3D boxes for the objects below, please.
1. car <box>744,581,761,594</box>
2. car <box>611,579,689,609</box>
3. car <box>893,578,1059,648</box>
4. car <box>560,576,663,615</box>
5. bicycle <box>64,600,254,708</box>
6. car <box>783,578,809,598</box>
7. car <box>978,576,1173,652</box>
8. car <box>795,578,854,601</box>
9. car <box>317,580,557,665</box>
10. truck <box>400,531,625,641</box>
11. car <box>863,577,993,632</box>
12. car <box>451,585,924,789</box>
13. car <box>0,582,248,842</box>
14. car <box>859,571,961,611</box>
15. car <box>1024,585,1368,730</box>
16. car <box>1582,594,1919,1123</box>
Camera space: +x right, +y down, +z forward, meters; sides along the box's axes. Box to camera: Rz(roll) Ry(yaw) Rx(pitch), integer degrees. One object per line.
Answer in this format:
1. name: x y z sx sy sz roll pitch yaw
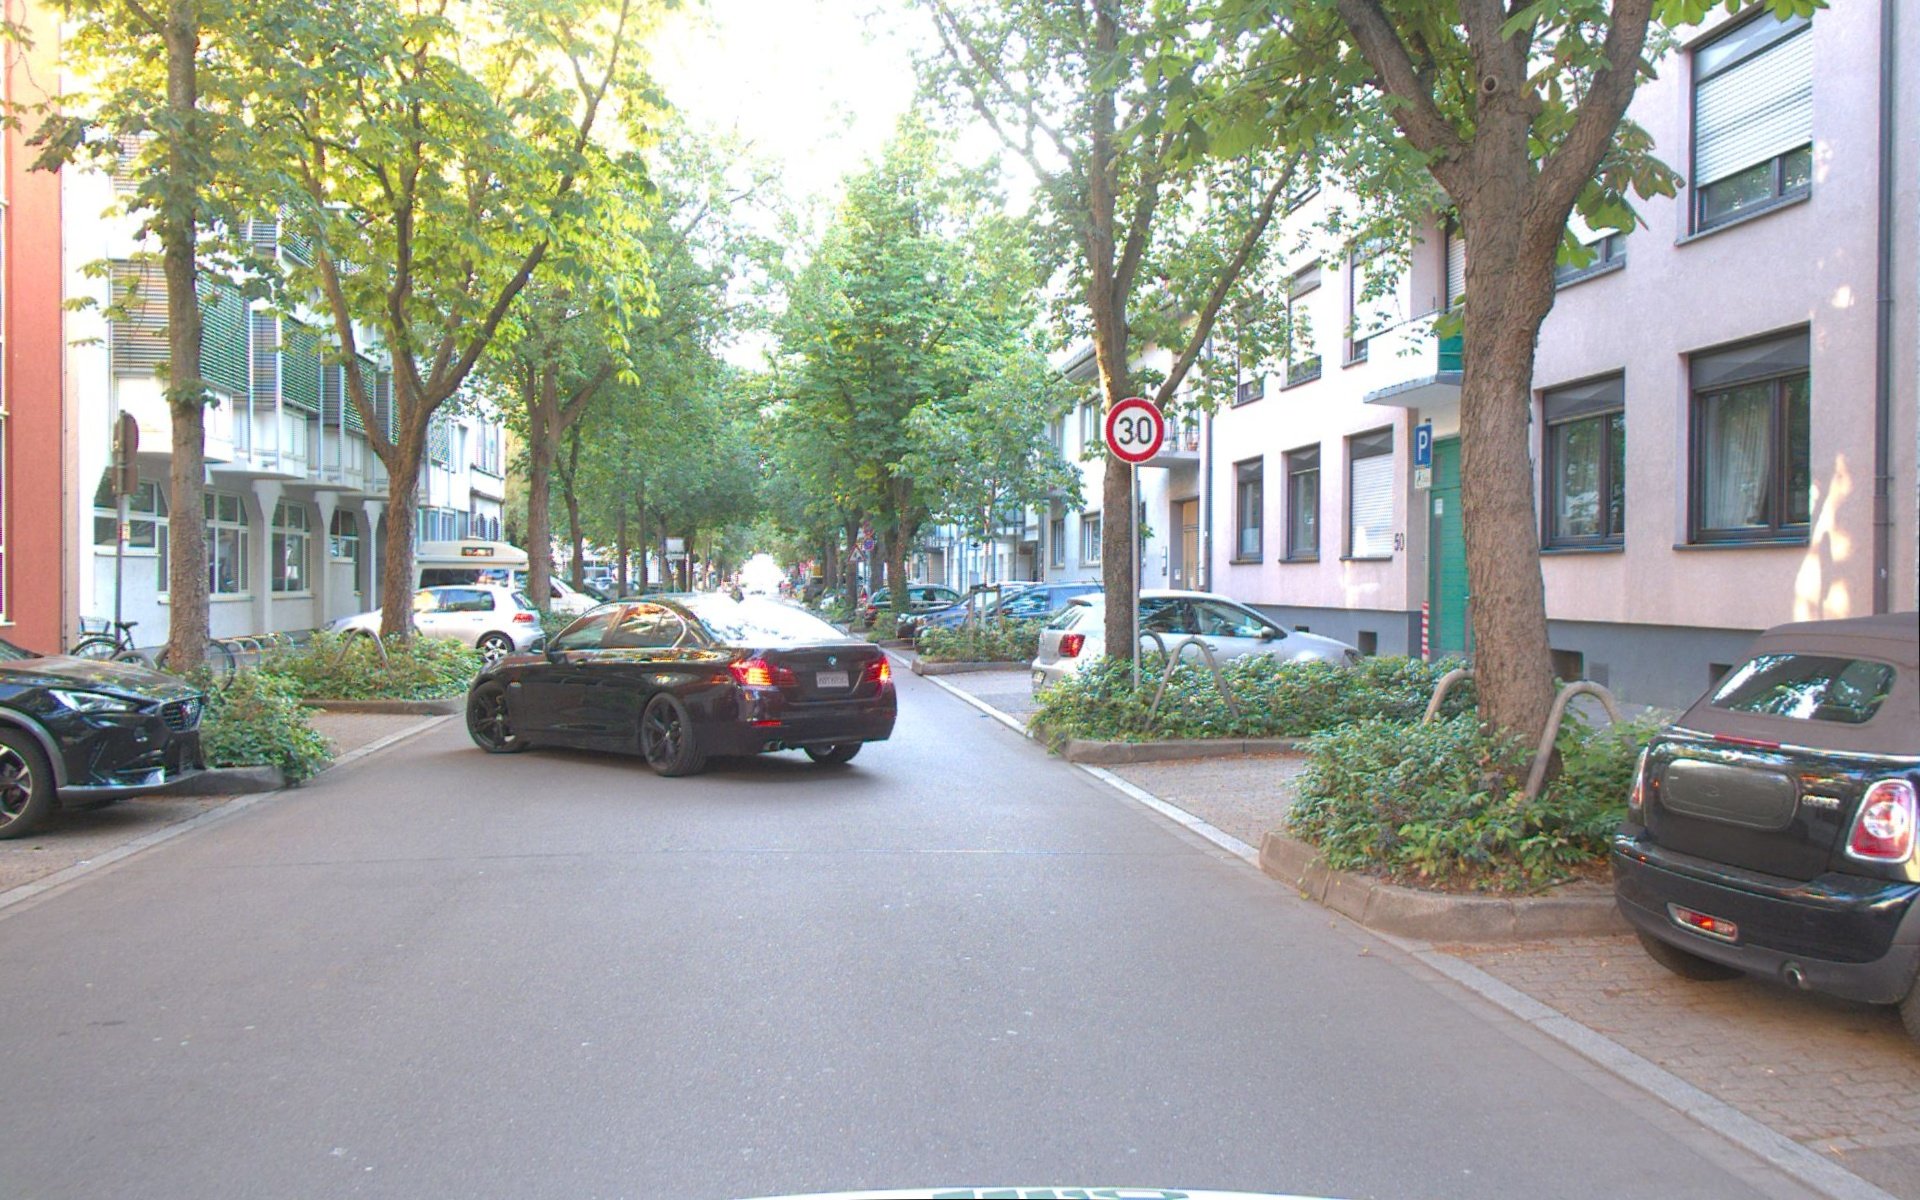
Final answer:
1. car: -24.214 -1.518 193.458 1.858 1.500 3.995 0 1 -6
2. car: -16.409 -0.305 87.684 3.945 1.497 1.638 1 1 -7
3. car: 0.350 0.276 38.994 3.722 1.556 1.562 -1 1 -9
4. car: -14.111 -0.198 67.138 3.945 1.497 1.638 1 1 -7
5. bicycle: -9.336 0.616 19.348 1.939 1.220 0.499 0 1 -18
6. car: -13.283 -0.965 133.811 1.956 1.579 3.994 0 1 -7
7. car: 2.247 0.249 32.576 3.589 1.417 1.562 -1 1 -9
8. car: -8.462 -0.661 103.397 3.589 1.417 1.563 0 1 -9
9. car: -9.828 0.418 31.326 4.054 1.497 1.638 1 1 -7
10. truck: -10.606 -0.343 39.501 4.903 2.483 1.914 1 1 -6
11. car: -0.954 0.115 47.718 3.589 1.563 1.563 0 1 -9
12. car: -2.513 0.616 14.391 1.755 1.475 4.591 0 1 -45
13. car: -7.126 0.648 10.656 4.274 1.535 1.832 1 1 -7
14. car: -1.870 -0.343 60.883 3.589 1.417 1.562 -1 1 -9
15. car: 2.636 0.612 18.844 3.589 1.505 1.562 -1 1 -9
16. car: 4.358 0.700 5.974 3.638 1.452 1.623 -3 1 -12
